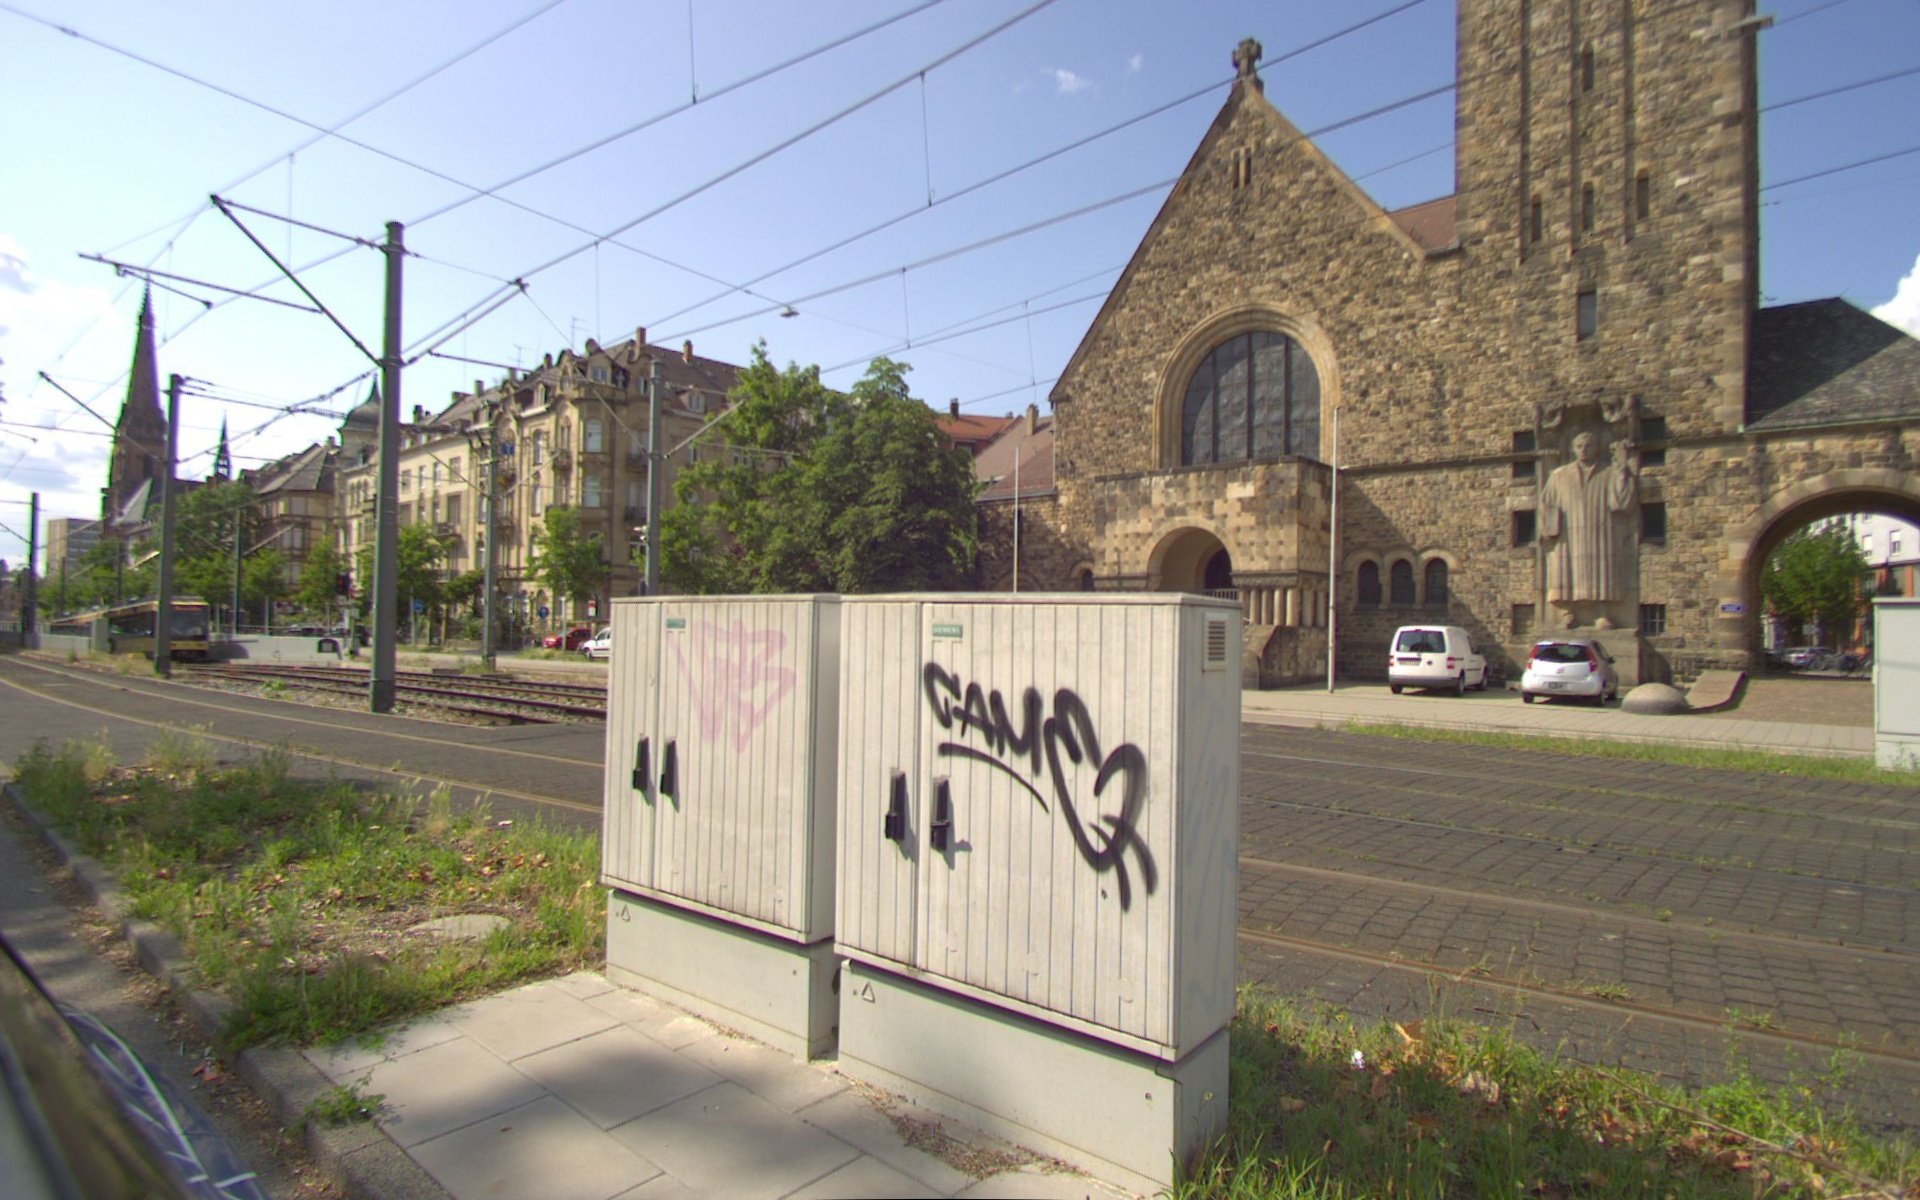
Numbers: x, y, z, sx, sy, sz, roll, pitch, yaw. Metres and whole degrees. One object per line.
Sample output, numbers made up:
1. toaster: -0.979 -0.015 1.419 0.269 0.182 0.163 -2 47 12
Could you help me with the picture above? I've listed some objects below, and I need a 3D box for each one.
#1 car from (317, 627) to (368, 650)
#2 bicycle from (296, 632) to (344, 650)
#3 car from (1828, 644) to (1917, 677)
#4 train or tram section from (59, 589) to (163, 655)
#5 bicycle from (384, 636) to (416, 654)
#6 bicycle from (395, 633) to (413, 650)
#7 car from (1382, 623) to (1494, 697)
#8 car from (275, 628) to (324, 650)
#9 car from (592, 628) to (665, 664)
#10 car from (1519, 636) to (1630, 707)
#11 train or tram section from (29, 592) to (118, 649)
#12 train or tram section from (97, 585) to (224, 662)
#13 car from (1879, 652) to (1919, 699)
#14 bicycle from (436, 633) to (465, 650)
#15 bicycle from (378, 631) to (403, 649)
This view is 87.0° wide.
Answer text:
1. car: -41.613 2.583 68.129 4.708 1.514 1.667 -1 -3 43
2. bicycle: -46.071 2.983 72.884 0.790 1.256 2.926 -1 -3 29
3. car: 47.245 3.107 52.513 1.779 1.609 4.051 0 -2 16
4. train or tram section: -51.468 1.333 61.160 12.829 3.607 2.823 -1 -3 41
5. bicycle: -34.533 2.786 62.412 0.470 1.077 1.690 -1 -3 36
6. bicycle: -38.206 2.853 69.528 2.023 1.148 0.423 -1 0 42
7. car: 13.089 1.595 27.594 1.862 1.838 3.962 0 -2 39
8. car: -48.935 2.868 74.963 4.484 1.538 1.781 -1 -1 39
9. car: -14.486 2.001 44.106 1.647 1.427 3.851 5 -4 -39
10. car: 15.177 1.705 24.924 1.797 1.559 3.728 0 -2 40
11. train or tram section: -61.153 1.447 69.658 12.829 3.607 2.823 -1 -3 41
12. train or tram section: -41.835 1.210 52.689 12.829 3.607 2.823 -1 -3 41
13. car: 35.601 2.732 35.861 1.998 1.665 3.983 1 -2 -16
14. bicycle: -34.472 2.773 68.487 0.470 1.077 1.690 -1 0 36
15. bicycle: -40.249 2.820 71.529 2.942 1.258 0.650 -1 0 42
